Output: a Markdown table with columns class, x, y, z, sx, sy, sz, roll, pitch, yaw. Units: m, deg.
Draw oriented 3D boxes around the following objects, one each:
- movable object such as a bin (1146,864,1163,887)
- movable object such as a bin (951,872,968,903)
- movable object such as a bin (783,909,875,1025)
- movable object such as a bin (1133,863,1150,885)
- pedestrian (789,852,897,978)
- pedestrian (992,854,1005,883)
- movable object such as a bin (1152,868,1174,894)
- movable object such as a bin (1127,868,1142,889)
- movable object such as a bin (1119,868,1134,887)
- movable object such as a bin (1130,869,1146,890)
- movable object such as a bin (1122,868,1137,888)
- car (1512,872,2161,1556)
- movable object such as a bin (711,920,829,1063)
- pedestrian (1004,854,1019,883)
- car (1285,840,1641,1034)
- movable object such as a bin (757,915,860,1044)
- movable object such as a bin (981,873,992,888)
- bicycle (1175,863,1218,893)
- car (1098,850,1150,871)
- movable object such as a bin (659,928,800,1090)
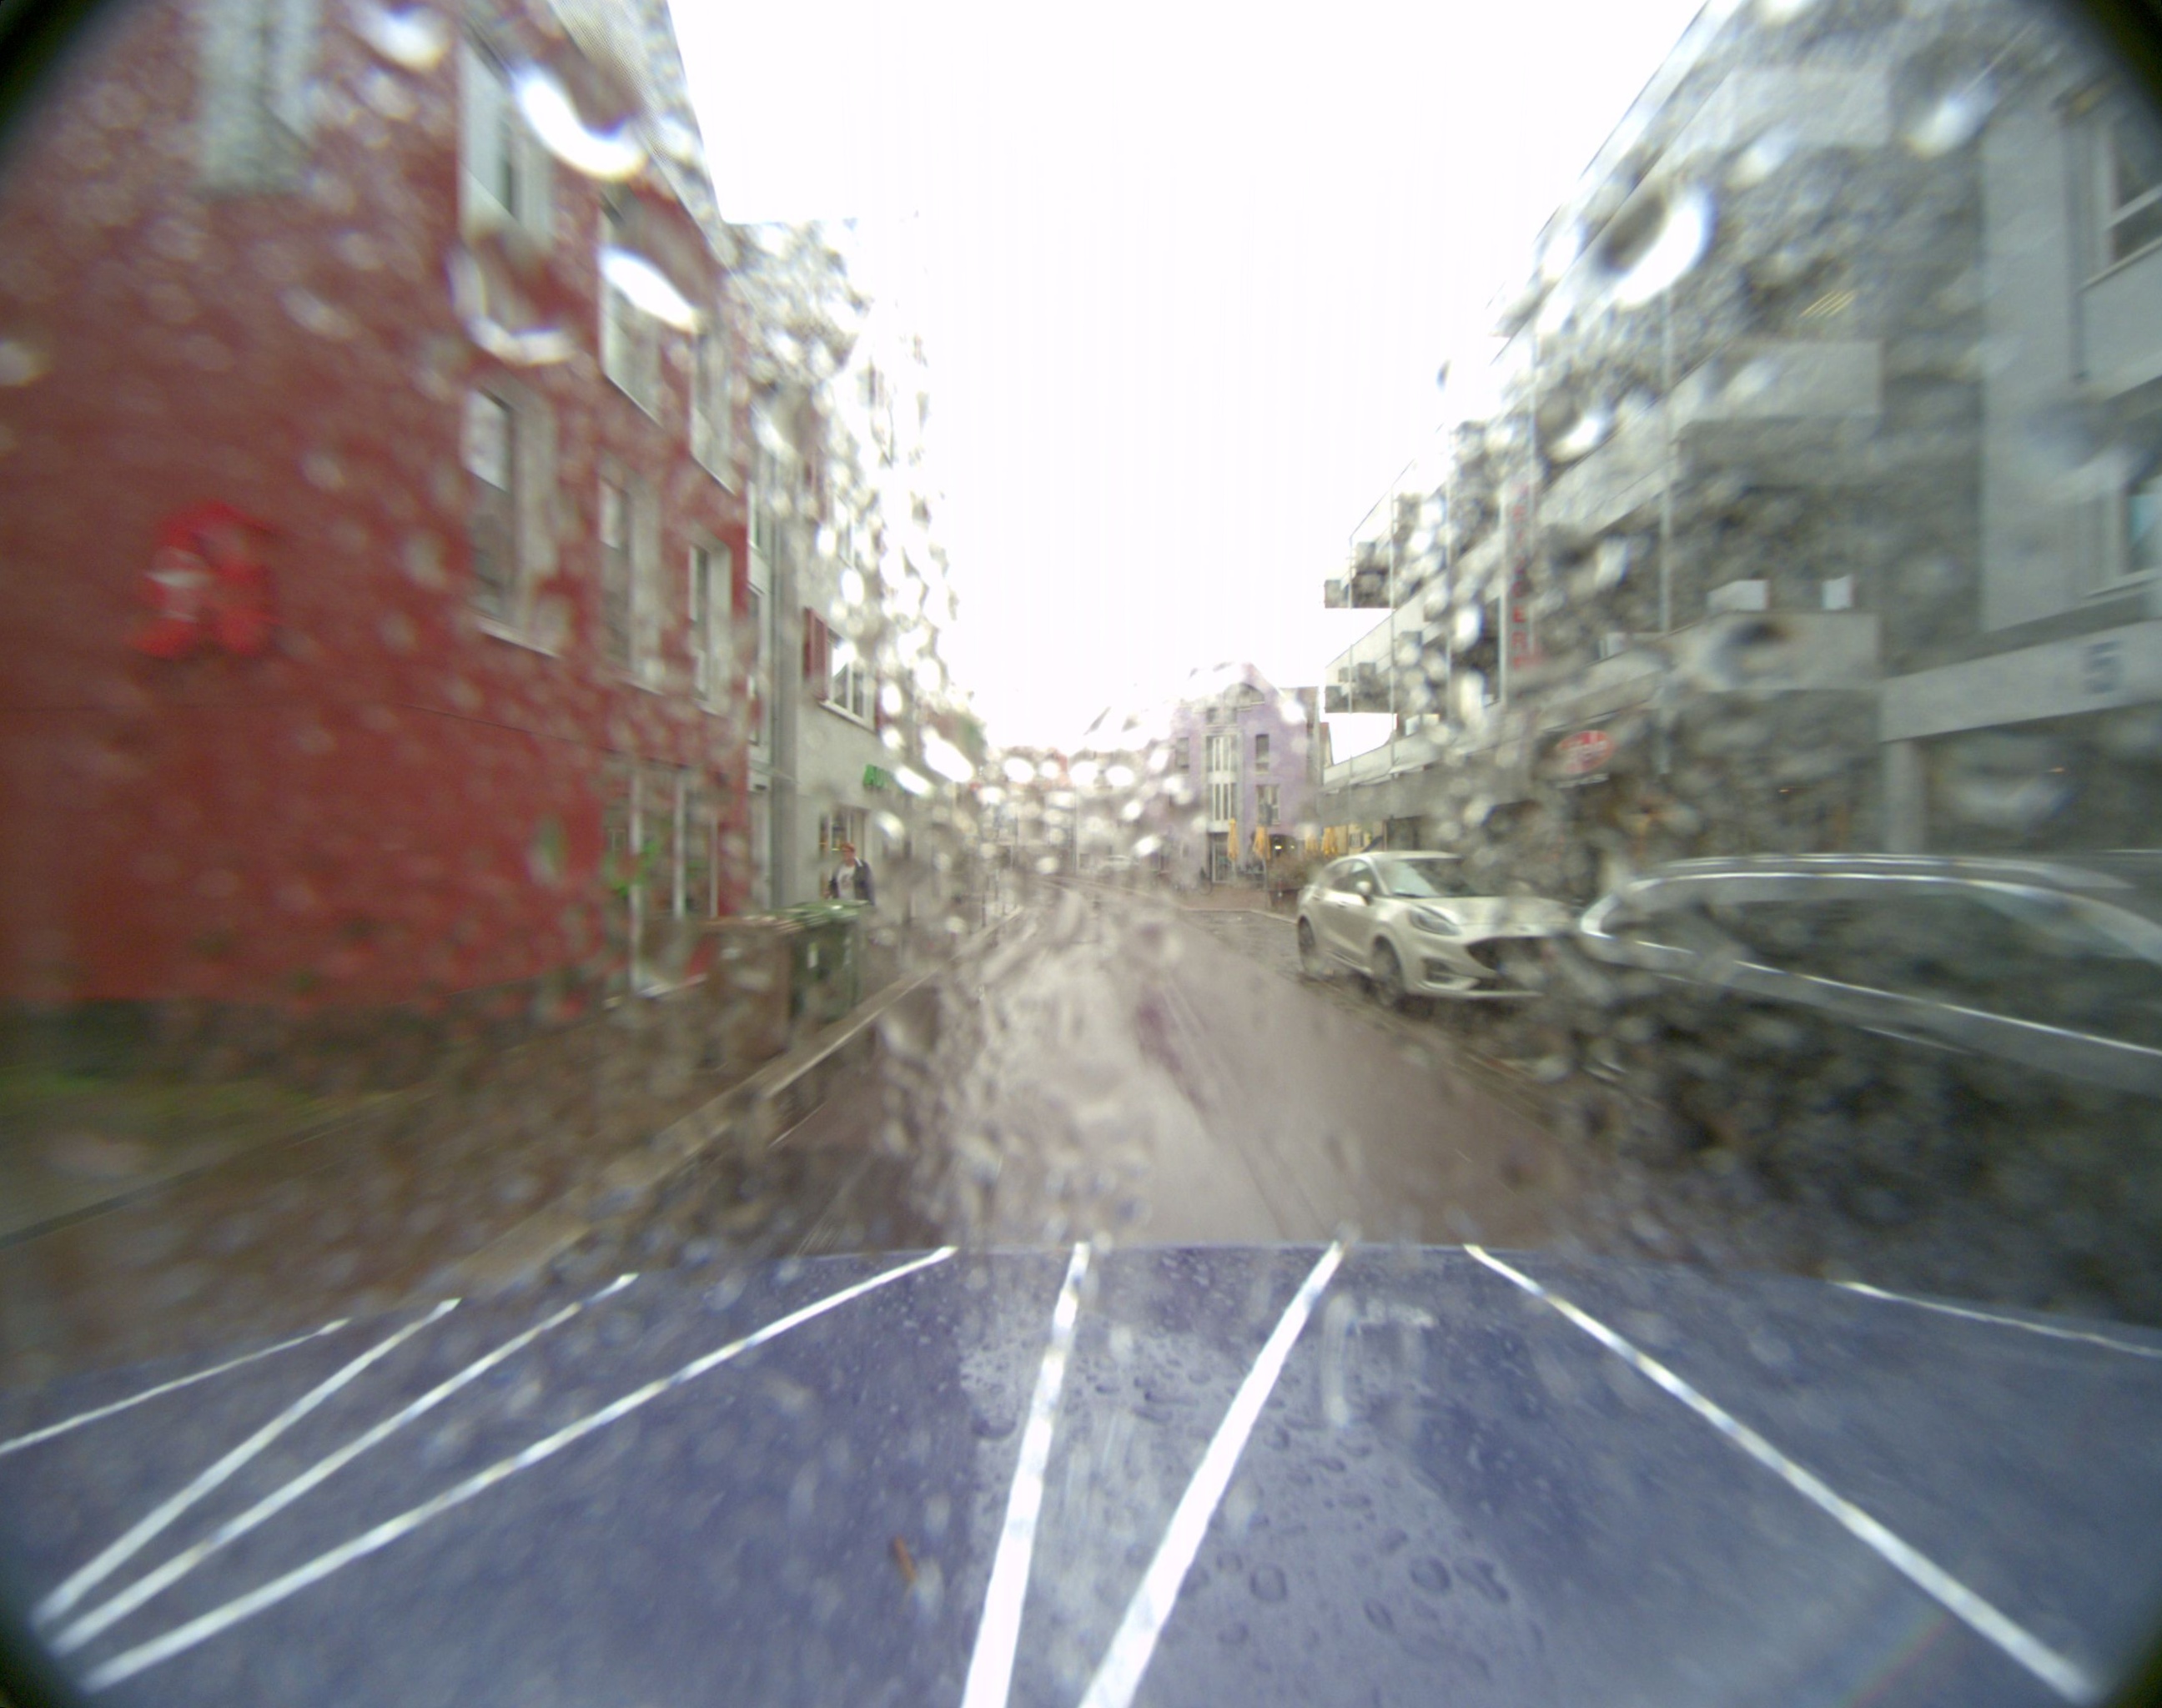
| class | x | y | z | sx | sy | sz | roll | pitch | yaw |
| --- | --- | --- | --- | --- | --- | --- | --- | --- | --- |
| movable object such as a bin | 3.561 | 1.040 | 36.927 | 0.688 | 1.070 | 0.669 | -1 | 1 | -9 |
| movable object such as a bin | -4.231 | 1.165 | 26.506 | 0.502 | 1.050 | 0.548 | 2 | 2 | 0 |
| movable object such as a bin | -2.577 | 1.140 | 7.832 | 0.678 | 1.080 | 0.718 | 0 | 1 | 2 |
| movable object such as a bin | 3.091 | 1.023 | 38.942 | 0.688 | 1.067 | 0.669 | -1 | 1 | -9 |
| pedestrian | -3.361 | 0.829 | 10.862 | 1.181 | 1.687 | 1.177 | 1 | 1 | -3 |
| pedestrian | -5.531 | 0.956 | 50.819 | 0.656 | 1.892 | 0.657 | 2 | 1 | -26 |
| movable object such as a bin | 3.295 | 1.095 | 30.613 | 0.689 | 1.014 | 0.631 | -1 | 1 | -17 |
| movable object such as a bin | 2.874 | 1.329 | 40.806 | 0.688 | 1.099 | 0.669 | -1 | 1 | -9 |
| movable object such as a bin | 2.550 | 1.317 | 42.835 | 0.688 | 1.080 | 0.712 | -1 | 0 | -9 |
| movable object such as a bin | 2.988 | 1.326 | 40.087 | 0.688 | 1.099 | 0.669 | -1 | 1 | -9 |
| movable object such as a bin | 2.690 | 1.316 | 41.905 | 0.688 | 1.074 | 0.669 | -1 | 1 | -9 |
| car | 3.389 | 0.859 | 2.044 | 1.835 | 1.490 | 4.763 | 0 | 0 | 1 |
| movable object such as a bin | -2.594 | 1.134 | 6.393 | 0.712 | 1.088 | 0.614 | 0 | 1 | 2 |
| pedestrian | -4.673 | 0.972 | 50.951 | 0.775 | 1.894 | 0.803 | -1 | 2 | -26 |
| car | 3.644 | 0.685 | 8.181 | 1.796 | 1.542 | 4.000 | -1 | 0 | 0 |
| movable object such as a bin | -2.511 | 1.142 | 7.068 | 0.678 | 1.078 | 0.698 | 0 | 1 | 2 |
| movable object such as a bin | -5.171 | 1.454 | 41.822 | 0.547 | 0.831 | 0.909 | 2 | 0 | -5 |
| bicycle | 4.753 | 0.971 | 31.351 | 1.753 | 1.158 | 0.443 | -1 | 2 | -19 |
| car | 3.459 | 0.500 | 60.382 | 3.993 | 1.575 | 1.833 | 0 | 2 | 7 |
| movable object such as a bin | -2.614 | 1.132 | 5.708 | 0.731 | 1.075 | 0.646 | 0 | 1 | 2 |
